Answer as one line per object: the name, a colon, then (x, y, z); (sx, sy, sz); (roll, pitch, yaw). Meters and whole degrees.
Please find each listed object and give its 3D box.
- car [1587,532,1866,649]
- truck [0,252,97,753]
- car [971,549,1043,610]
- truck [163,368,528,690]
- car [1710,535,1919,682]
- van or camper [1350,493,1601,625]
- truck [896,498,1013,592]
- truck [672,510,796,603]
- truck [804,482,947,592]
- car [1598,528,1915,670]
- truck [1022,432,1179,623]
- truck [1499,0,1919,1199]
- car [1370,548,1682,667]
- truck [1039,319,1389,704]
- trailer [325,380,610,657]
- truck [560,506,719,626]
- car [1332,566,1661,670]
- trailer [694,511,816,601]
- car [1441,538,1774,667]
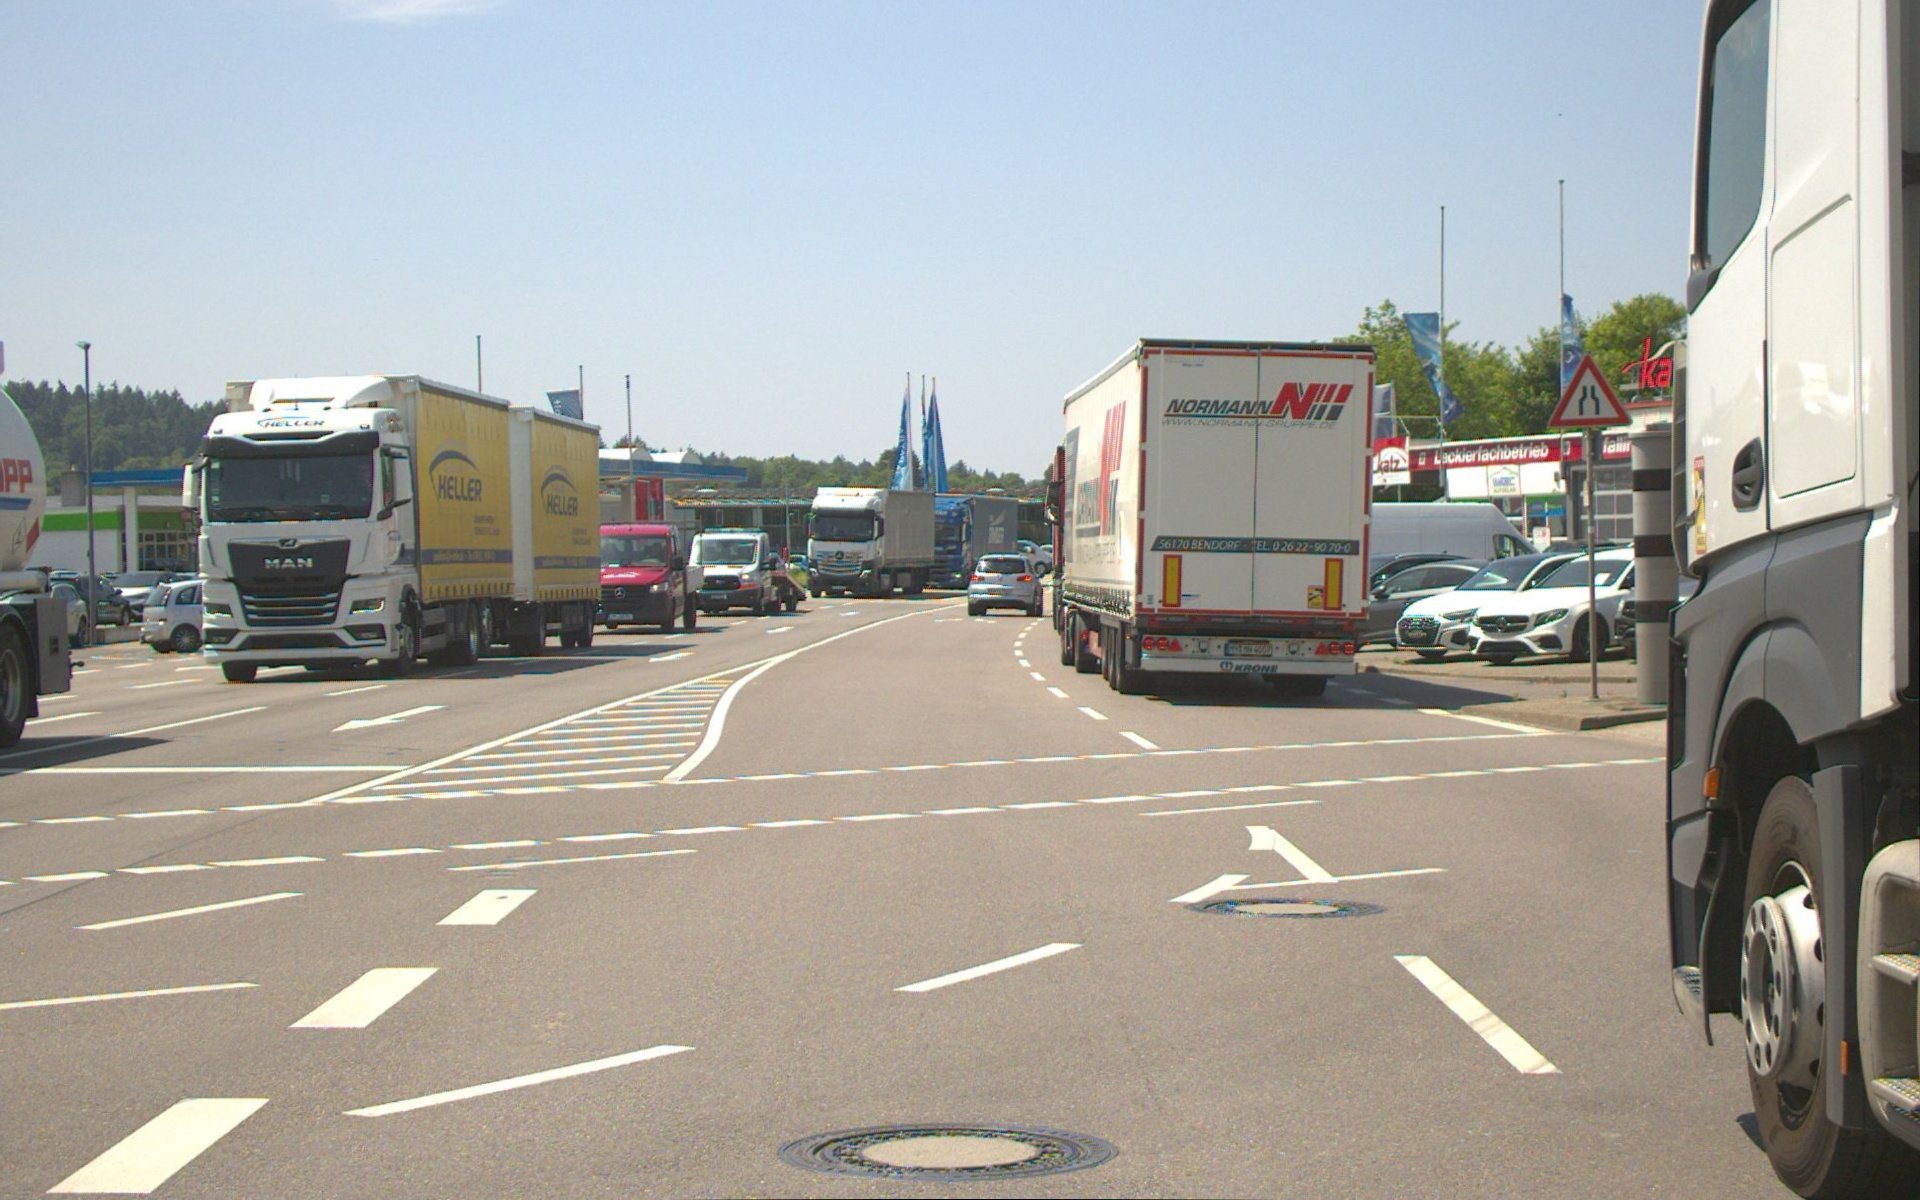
car: (12.713, -0.137, 57.176); (1.849, 1.708, 4.146); (-2, -1, -43)
truck: (-9.106, -0.675, 22.361); (2.605, 4.004, 15.130); (-2, 1, 2)
car: (1.294, -0.557, 94.062); (1.923, 1.605, 4.094); (0, 0, 1)
truck: (-8.495, -0.968, 49.071); (3.029, 4.091, 10.354); (0, 1, 2)
car: (11.902, 0.067, 44.627); (4.172, 1.686, 1.884); (-4, 2, -36)
van or camper: (11.419, -0.918, 76.471); (5.369, 2.895, 2.232); (0, 1, 4)
truck: (-0.089, -2.337, 152.324); (2.845, 3.876, 17.000); (1, 0, 8)
truck: (-5.978, -1.161, 91.735); (2.425, 2.332, 5.674); (-2, 1, 5)
truck: (-3.059, -2.281, 130.927); (2.791, 3.876, 16.477); (1, 0, 8)
car: (10.862, -0.034, 46.790); (4.162, 1.686, 1.884); (-4, 2, -36)
truck: (2.953, -1.544, 76.058); (2.647, 3.793, 13.360); (1, 1, -1)
truck: (3.080, -0.602, 6.594); (2.973, 3.996, 6.327); (-2, 1, -1)
car: (8.497, 0.095, 51.500); (4.462, 1.404, 1.746); (-5, 3, -30)
truck: (2.933, -1.045, 45.743); (2.973, 4.080, 17.636); (1, 1, -1)
trailer: (-8.162, -1.325, 58.404); (3.011, 4.272, 10.058); (0, 1, 2)
truck: (-6.882, -0.715, 74.565); (2.396, 2.436, 6.871); (1, 0, 3)
car: (8.407, 0.301, 54.235); (1.923, 1.382, 4.932); (-2, -1, -43)
trailer: (-5.658, -1.217, 95.859); (2.428, 2.330, 6.895); (-2, 0, 4)
car: (9.268, 0.021, 49.031); (4.725, 1.547, 1.999); (-4, 2, -38)
